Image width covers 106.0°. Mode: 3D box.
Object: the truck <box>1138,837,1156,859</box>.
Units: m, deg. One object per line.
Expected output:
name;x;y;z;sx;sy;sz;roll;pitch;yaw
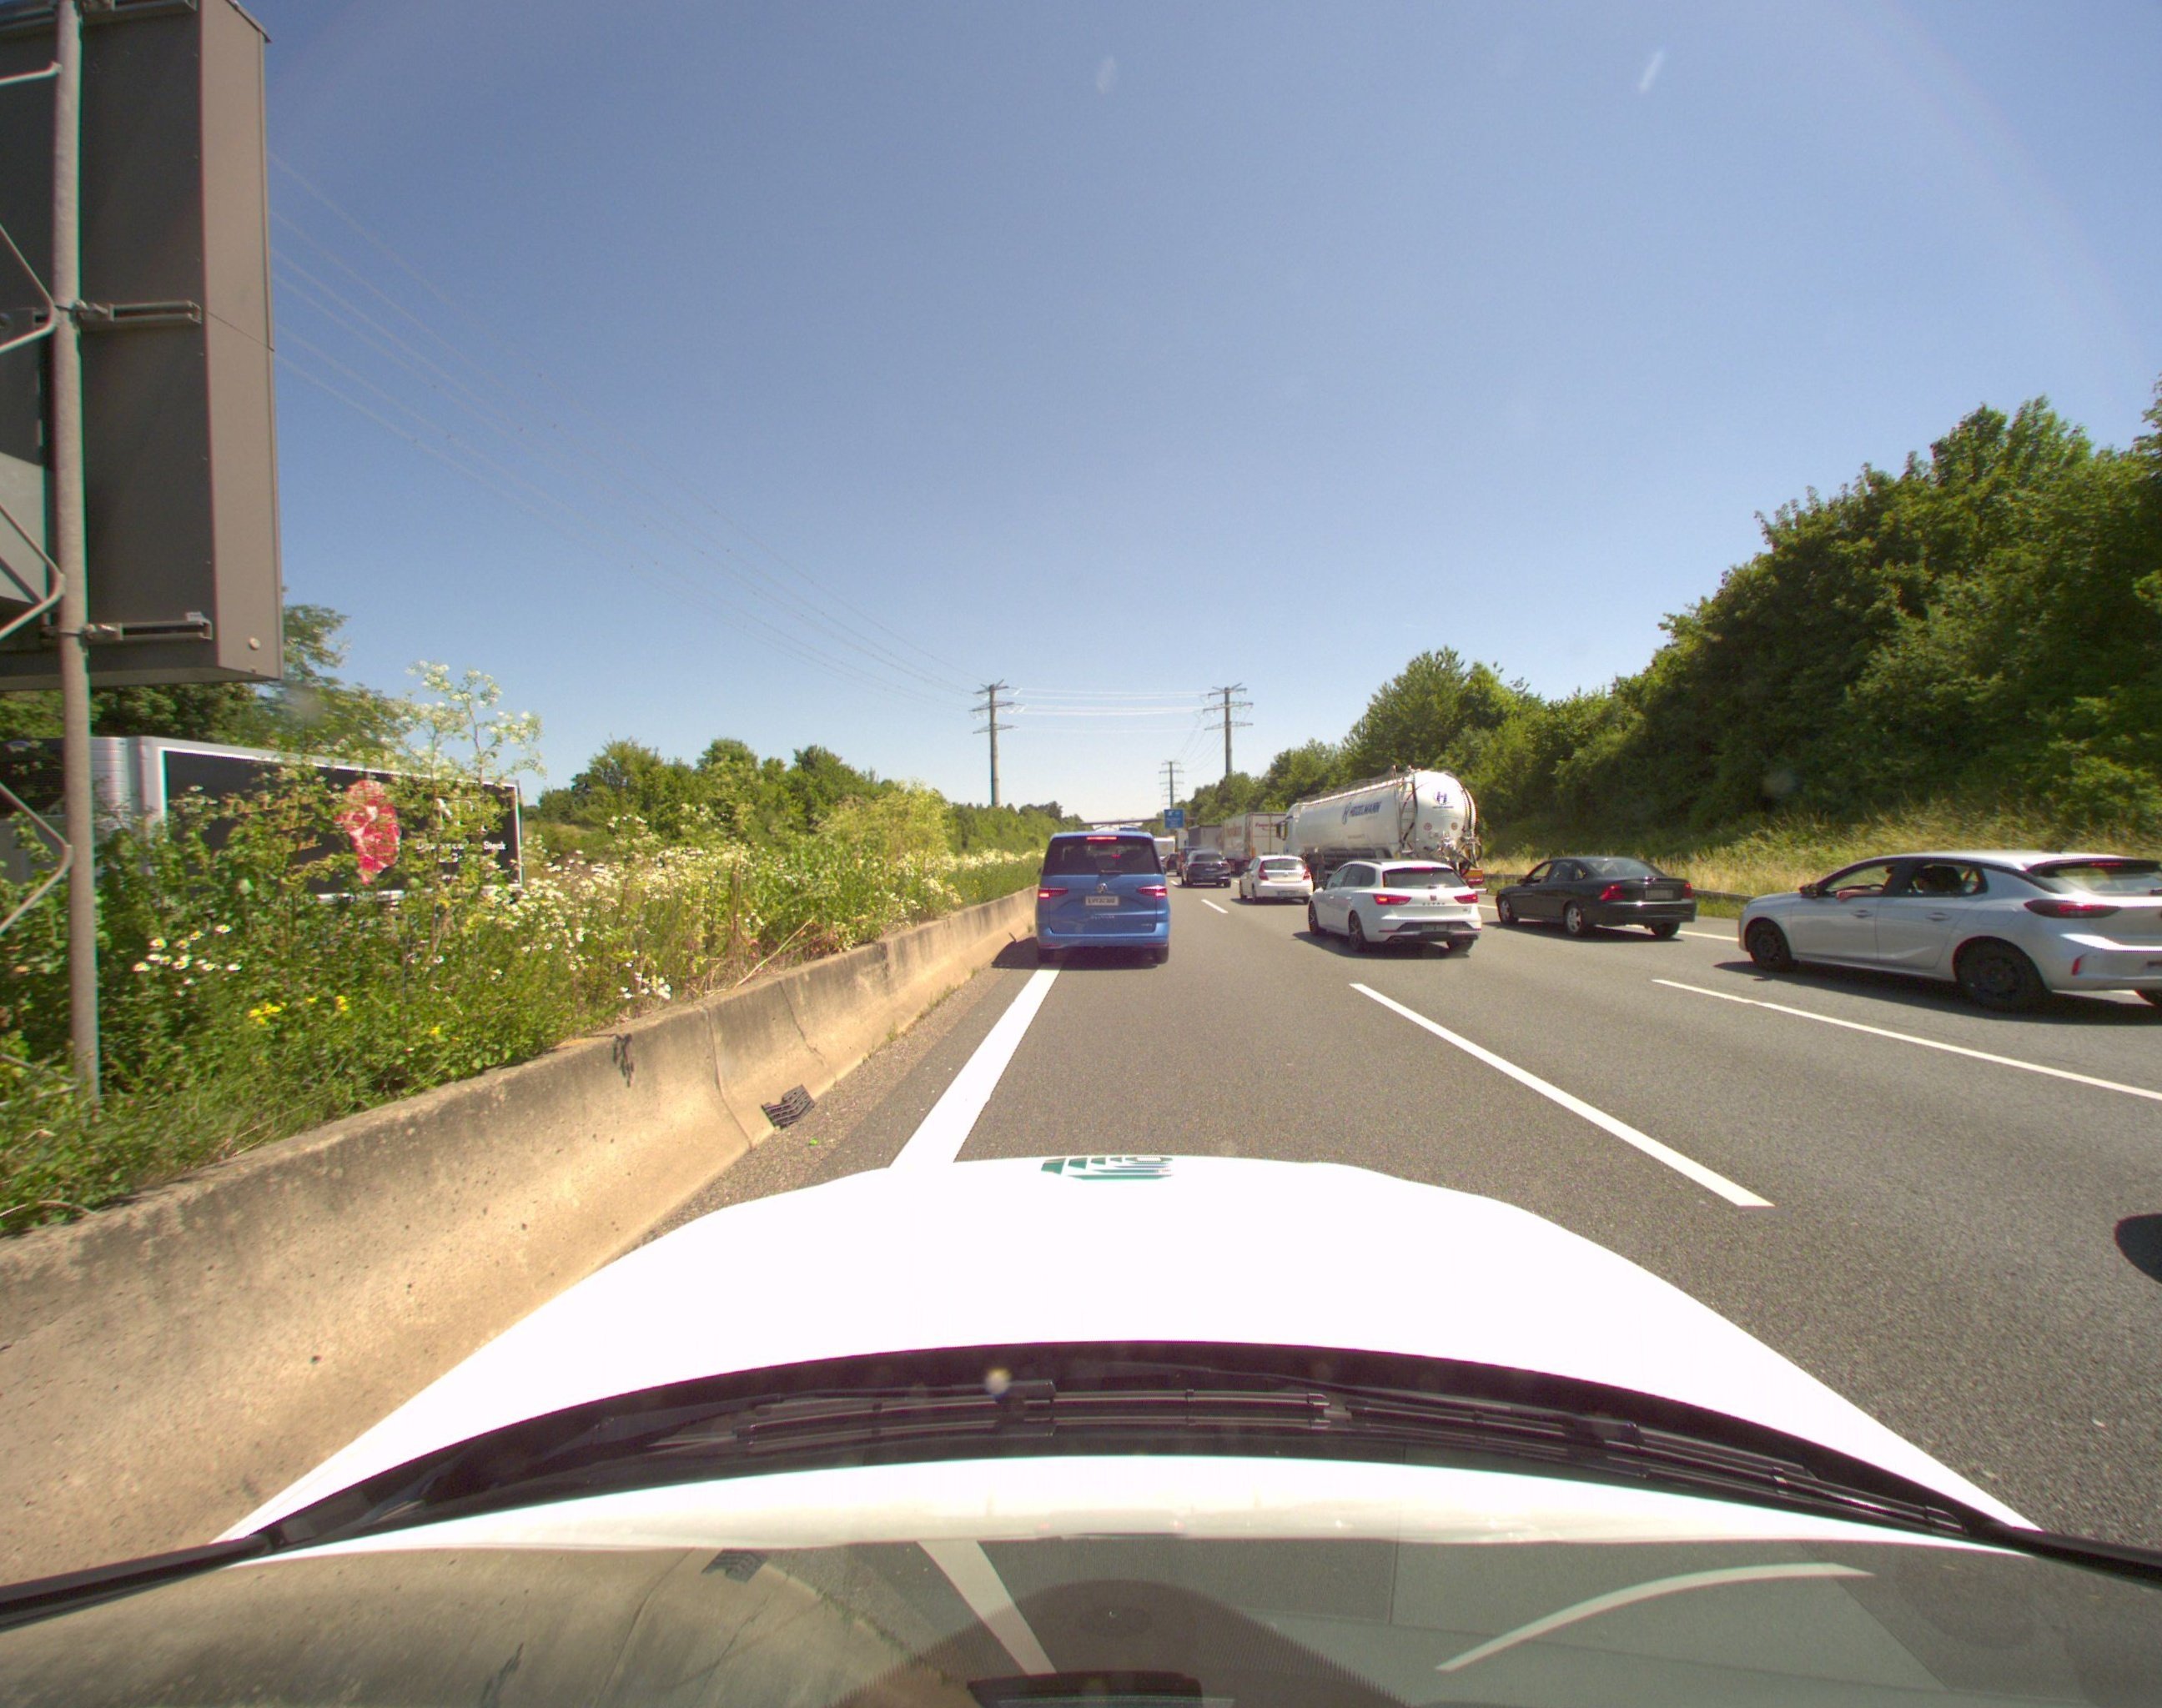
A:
truck;11.782;-0.990;145.355;2.883;3.766;10.149;-1;-1;4

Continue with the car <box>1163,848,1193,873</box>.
car;7.799;0.543;65.974;1.916;1.925;4.236;-3;-1;1

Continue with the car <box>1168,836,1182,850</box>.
car;15.245;-1.739;131.802;1.985;2.014;4.003;-1;-1;3

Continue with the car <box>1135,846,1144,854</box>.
car;14.936;-1.031;207.268;1.986;2.126;4.002;-1;-1;2

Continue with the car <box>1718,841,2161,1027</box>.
car;9.077;0.628;8.545;1.724;1.443;4.031;-2;0;2

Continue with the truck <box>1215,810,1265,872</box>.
truck;12.181;-0.934;62.892;2.901;4.469;5.145;-2;-1;2

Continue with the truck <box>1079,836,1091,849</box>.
truck;1.423;-3.562;257.698;3.159;3.819;11.952;0;0;3

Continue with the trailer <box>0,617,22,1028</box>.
trailer;-15.082;-0.392;6.893;3.309;5.047;6.708;-1;-1;3

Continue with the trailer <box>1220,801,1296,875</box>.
trailer;11.904;-0.952;56.110;2.901;4.469;12.160;-2;0;2

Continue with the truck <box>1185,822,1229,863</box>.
truck;12.696;-0.974;83.681;2.993;3.766;15.727;-1;-1;4

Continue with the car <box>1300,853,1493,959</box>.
car;5.032;0.777;13.665;1.740;1.443;4.317;-2;-1;3

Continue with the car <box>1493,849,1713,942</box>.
car;9.388;0.700;15.074;1.634;1.416;3.992;-3;-1;3

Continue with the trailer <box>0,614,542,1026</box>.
trailer;-14.633;-0.337;14.438;3.308;5.047;9.598;-1;-1;3

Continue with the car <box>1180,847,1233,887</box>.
car;5.817;0.628;38.274;1.991;1.715;4.629;-2;-1;3

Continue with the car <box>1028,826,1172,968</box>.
car;0.356;0.577;12.865;1.912;1.886;4.003;0;0;3

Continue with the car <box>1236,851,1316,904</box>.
car;6.113;0.717;25.915;1.809;1.485;4.004;-2;-1;4

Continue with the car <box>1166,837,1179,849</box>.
car;15.889;-1.869;141.825;1.985;2.014;4.003;-1;-1;3

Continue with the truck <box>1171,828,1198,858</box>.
truck;14.365;-1.374;113.737;2.883;3.766;13.356;-1;-1;4

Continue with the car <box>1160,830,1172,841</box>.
car;15.841;-3.444;152.027;1.985;2.014;4.003;-1;-1;3

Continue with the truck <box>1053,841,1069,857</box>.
truck;-4.912;-1.304;200.704;2.900;3.819;11.952;0;0;3

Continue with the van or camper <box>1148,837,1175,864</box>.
van or camper;9.629;-0.342;97.842;2.944;3.022;7.110;-1;-1;4

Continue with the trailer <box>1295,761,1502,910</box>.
trailer;9.878;-0.466;27.242;2.750;3.845;11.492;-2;0;2

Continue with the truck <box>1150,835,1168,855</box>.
truck;18.826;-2.033;196.703;3.552;4.517;10.298;-1;-1;2

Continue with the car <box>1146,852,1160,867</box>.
car;10.061;0.846;114.314;1.828;1.998;4.004;-3;-1;4

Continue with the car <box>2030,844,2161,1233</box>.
car;4.758;0.608;1.045;1.769;1.416;4.574;-3;-1;2

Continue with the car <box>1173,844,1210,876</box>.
car;7.304;0.419;54.261;1.916;1.925;4.236;-3;-1;1

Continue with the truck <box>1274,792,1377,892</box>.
truck;10.213;-0.454;34.661;2.782;3.836;5.575;-2;-1;2
